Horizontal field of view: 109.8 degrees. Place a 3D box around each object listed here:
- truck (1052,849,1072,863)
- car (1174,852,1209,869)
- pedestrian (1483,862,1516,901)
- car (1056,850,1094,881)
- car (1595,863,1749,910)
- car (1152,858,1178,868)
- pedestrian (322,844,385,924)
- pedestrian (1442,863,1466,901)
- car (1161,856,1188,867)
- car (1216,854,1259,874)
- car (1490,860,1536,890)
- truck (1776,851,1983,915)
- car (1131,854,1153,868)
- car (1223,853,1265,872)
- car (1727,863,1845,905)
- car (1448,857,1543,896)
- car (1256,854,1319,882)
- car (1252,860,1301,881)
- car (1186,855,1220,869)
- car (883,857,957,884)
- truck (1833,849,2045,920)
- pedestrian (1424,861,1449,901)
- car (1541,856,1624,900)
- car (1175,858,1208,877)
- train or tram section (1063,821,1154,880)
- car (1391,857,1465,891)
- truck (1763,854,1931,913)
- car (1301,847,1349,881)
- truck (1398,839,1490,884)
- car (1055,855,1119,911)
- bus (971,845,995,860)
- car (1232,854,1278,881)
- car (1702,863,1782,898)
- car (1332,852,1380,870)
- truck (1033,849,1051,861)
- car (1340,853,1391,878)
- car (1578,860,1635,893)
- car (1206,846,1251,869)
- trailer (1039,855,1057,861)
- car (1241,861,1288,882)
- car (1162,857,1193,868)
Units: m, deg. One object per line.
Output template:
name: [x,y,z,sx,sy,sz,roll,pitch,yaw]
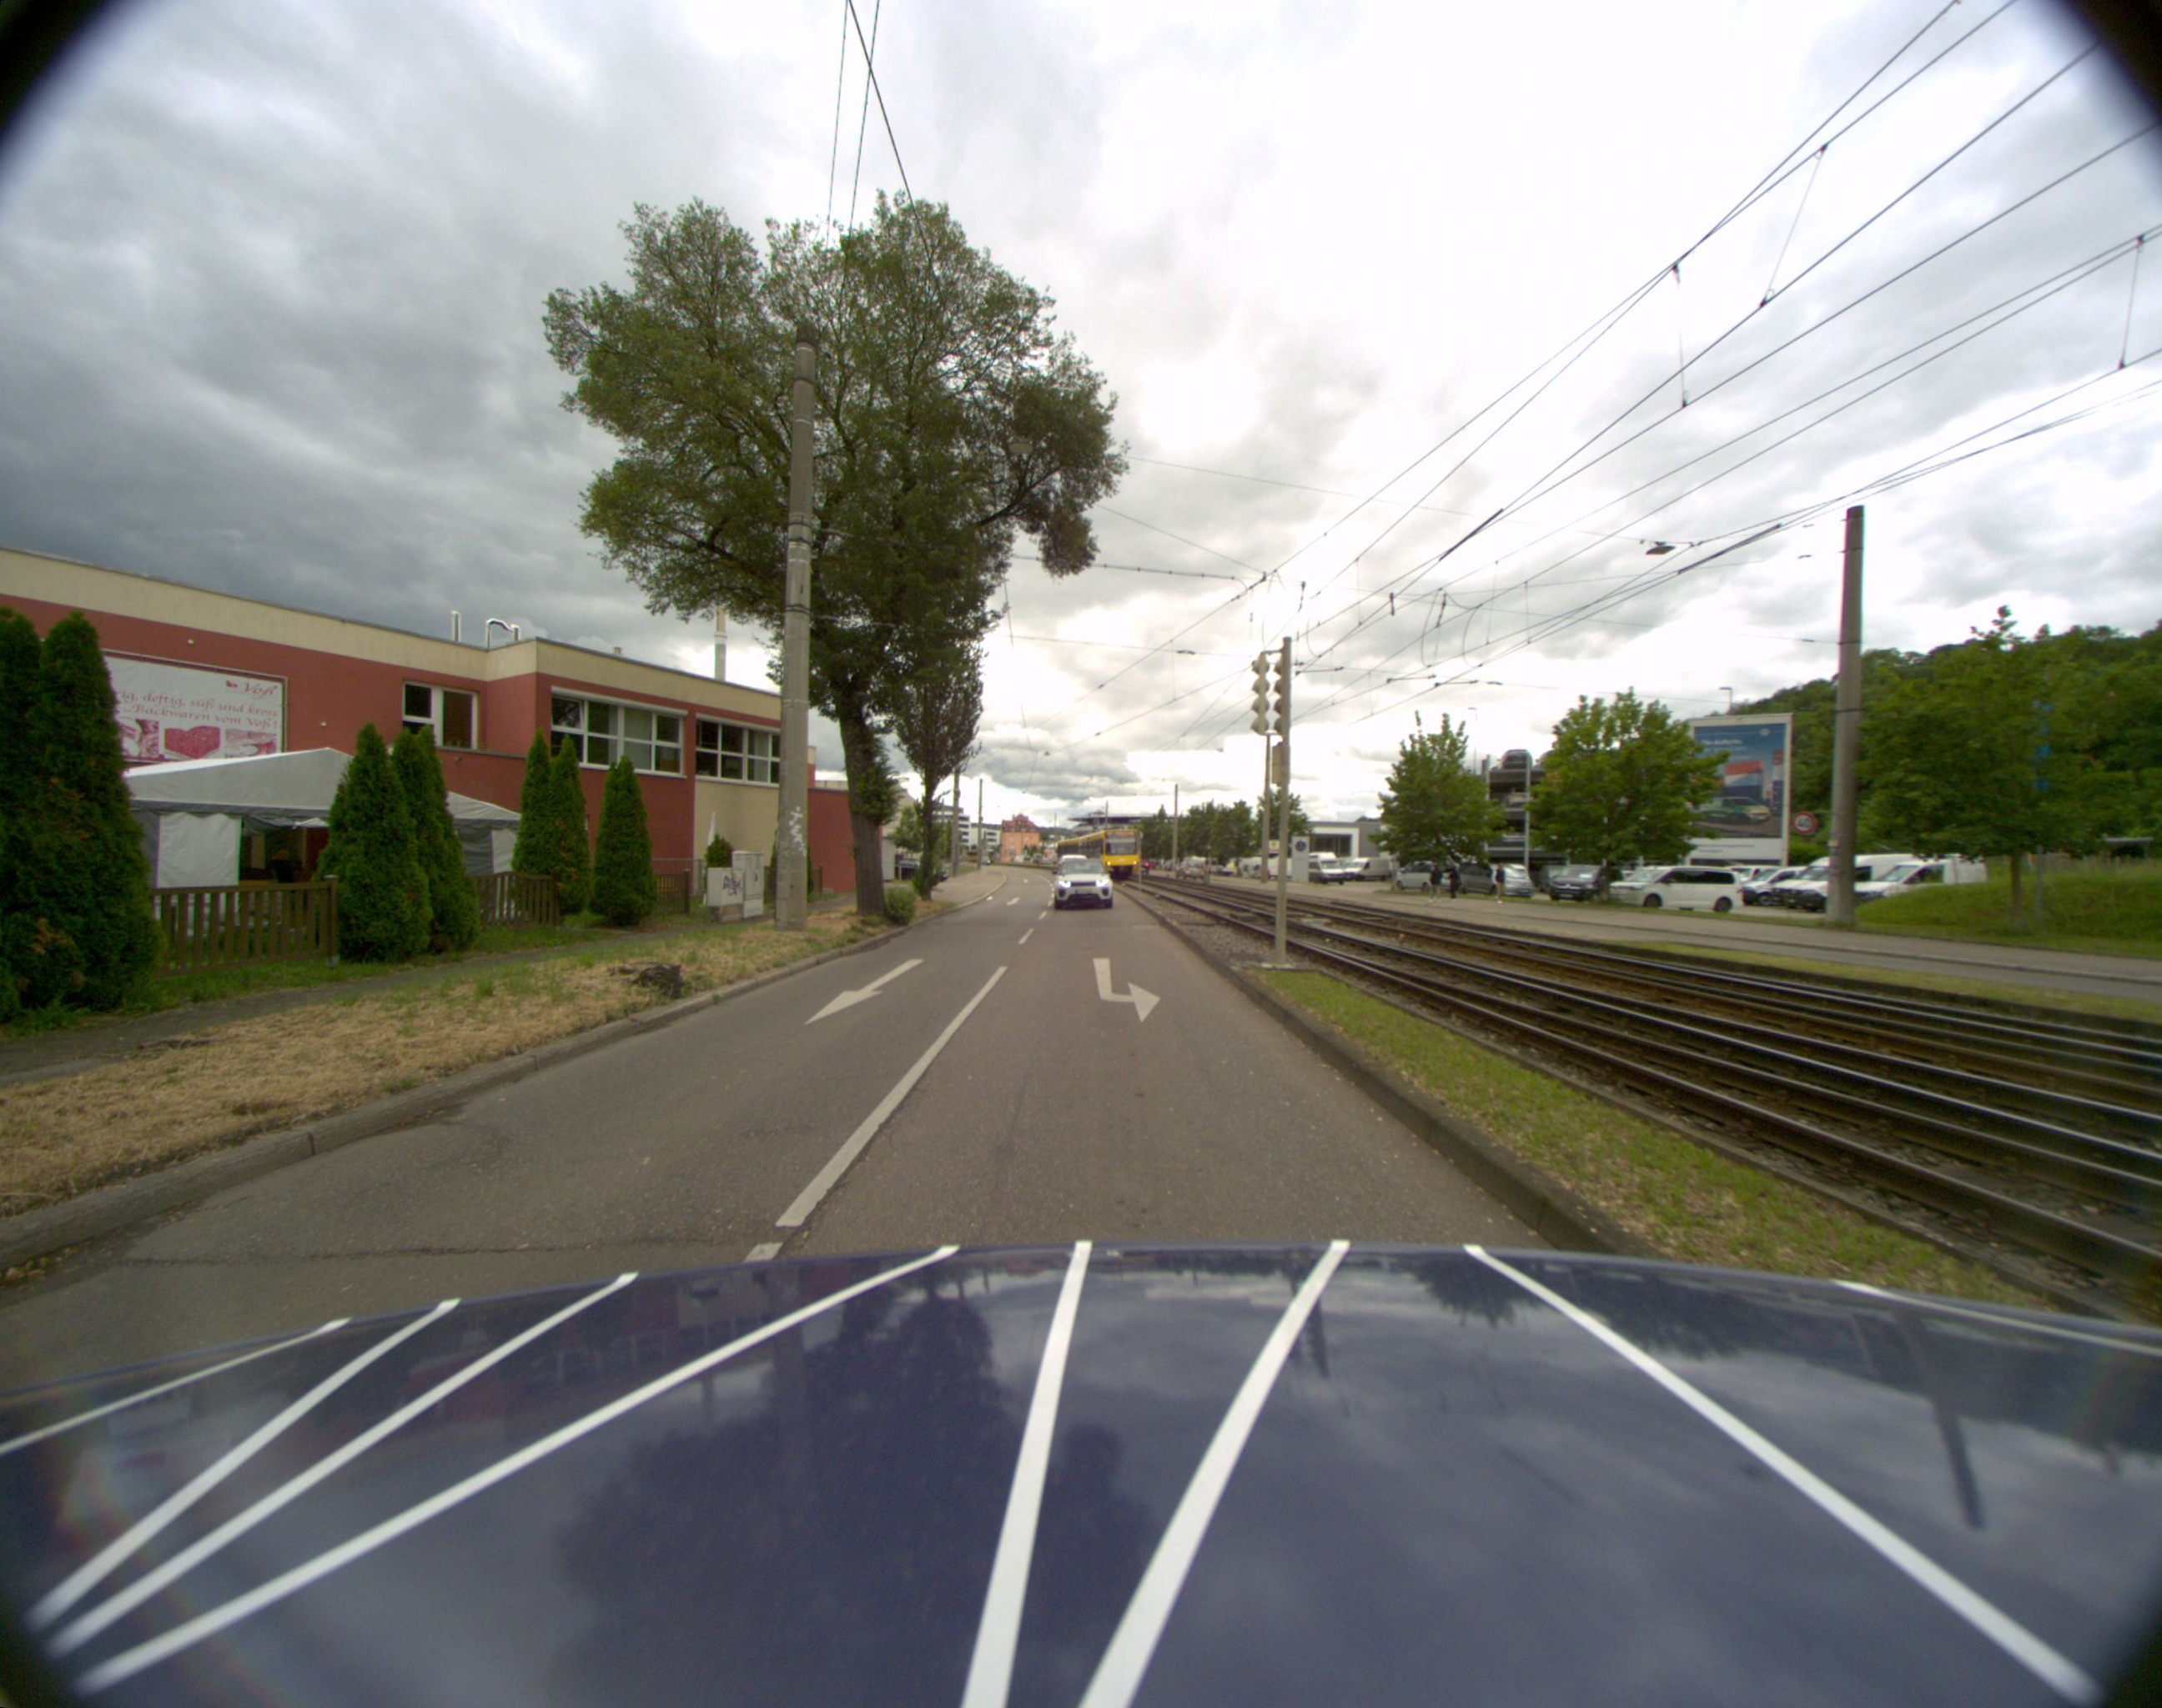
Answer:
truck: [-4.268,0.419,171.026,2.874,2.963,8.445,3,-1,-12]
car: [15.463,0.862,106.827,4.510,2.298,2.124,1,0,-5]
pedestrian: [18.099,1.163,32.850,0.720,1.646,1.041,-2,0,-13]
car: [-0.451,0.749,49.923,2.000,1.881,4.624,1,0,-6]
car: [25.117,1.370,32.387,5.071,1.877,2.165,1,0,-6]
car: [13.823,1.476,125.363,3.998,1.608,1.999,1,0,-4]
pedestrian: [-13.971,0.559,14.600,0.703,1.481,0.771,1,1,37]
pedestrian: [17.126,1.257,34.897,0.630,1.703,0.855,-1,0,-3]
car: [14.665,1.151,119.295,3.998,1.608,1.999,1,0,-4]
car: [18.060,1.145,87.566,4.380,2.160,2.002,1,0,-10]
car: [28.855,1.366,50.910,1.995,1.820,4.475,1,0,21]
truck: [34.942,1.219,33.516,5.765,2.573,2.472,1,0,19]
car: [7.021,0.781,87.647,1.692,1.523,4.254,4,0,-5]
car: [19.320,0.972,90.240,4.380,2.160,2.002,1,0,-10]
car: [36.475,1.528,39.427,3.993,2.002,2.002,1,1,11]
car: [22.877,1.171,42.249,2.000,2.002,5.126,1,0,-7]
car: [20.334,1.357,74.965,5.489,2.587,2.245,1,0,-6]
car: [19.953,1.683,77.708,4.380,2.093,2.002,1,0,-10]
car: [16.790,1.136,104.661,4.378,1.834,2.003,1,0,-5]
car: [-10.132,1.024,47.854,4.223,1.434,1.766,3,1,22]
truck: [34.124,1.132,30.495,5.059,2.573,2.473,1,0,25]
pedestrian: [16.270,1.207,34.768,0.678,1.802,0.855,-1,0,-3]
car: [24.455,1.132,36.984,5.084,2.002,2.160,1,0,-42]
car: [9.516,1.140,65.697,1.896,1.523,4.254,4,0,-4]
train or tram section: [1.713,-0.346,59.985,3.400,3.984,16.925,-1,1,-11]
car: [22.132,1.248,48.689,2.000,2.002,4.915,1,0,-8]
truck: [36.516,1.359,36.450,5.061,2.573,2.472,1,0,19]
car: [22.330,0.904,69.767,2.114,3.001,5.934,1,0,-4]
truck: [26.456,0.523,55.671,5.923,3.067,2.123,1,0,24]
car: [0.138,0.910,25.759,1.999,1.718,3.999,0,0,-2]
bus: [-27.884,-0.452,215.456,3.566,3.930,10.468,-1,2,-27]
car: [18.878,1.459,82.315,4.380,2.802,2.002,1,0,-10]
car: [39.560,1.533,45.456,4.284,2.001,1.996,0,-1,-25]
car: [32.329,0.786,89.319,4.857,2.002,1.999,1,0,-4]
truck: [-10.168,0.157,197.559,3.119,2.904,8.950,3,-1,-14]
car: [30.293,1.233,80.749,5.965,2.587,1.999,1,0,-35]
car: [33.717,1.414,48.863,1.995,2.001,4.475,1,0,21]
car: [18.018,0.477,92.745,4.983,2.683,2.113,1,0,-10]
trailer: [-8.282,0.970,189.826,3.061,1.270,6.998,3,-1,-13]
car: [19.346,1.826,80.079,4.380,2.093,2.002,1,0,-10]
car: [14.795,1.241,116.848,4.380,1.608,2.003,1,0,-8]
